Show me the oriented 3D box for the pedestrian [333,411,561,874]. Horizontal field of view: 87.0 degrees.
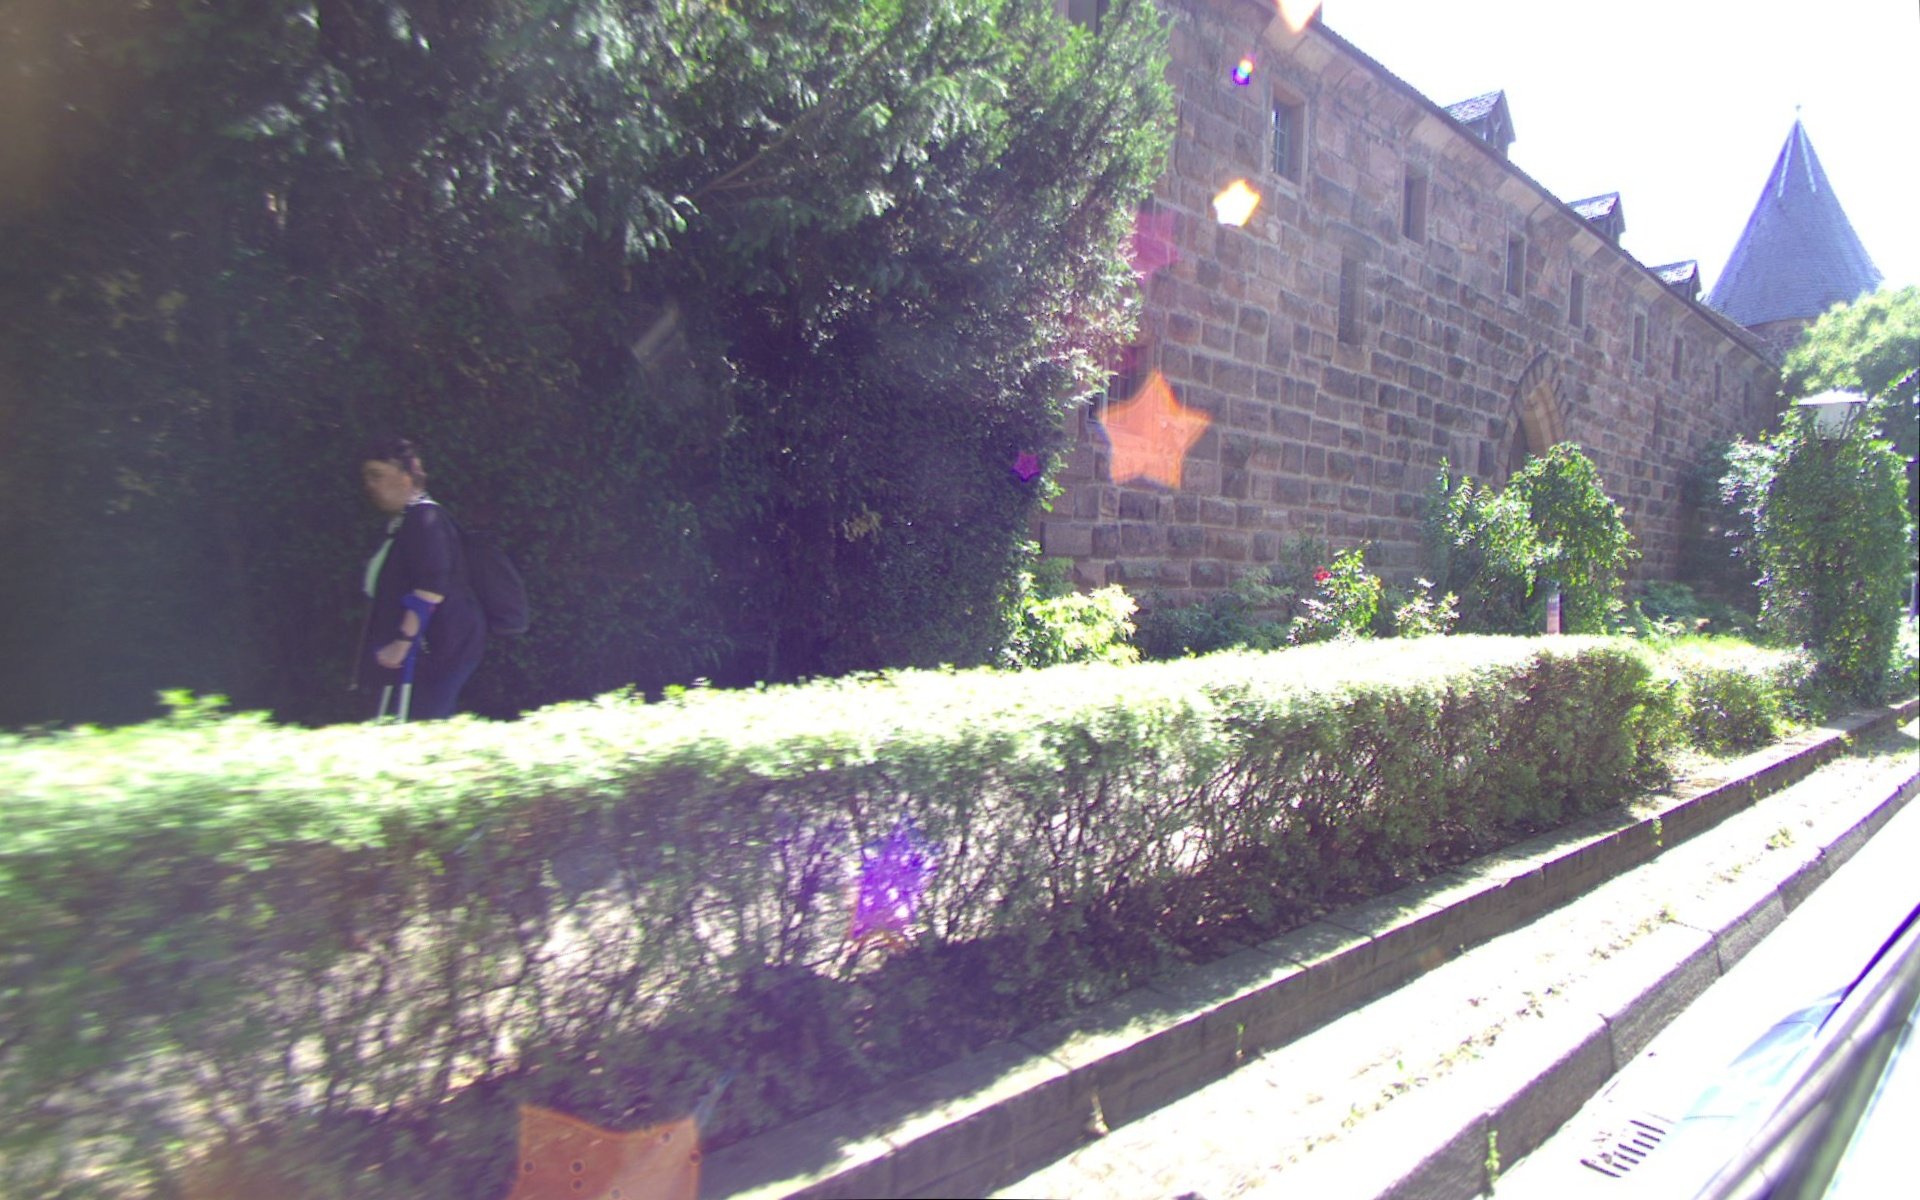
[{"bbox_3d":[-2.108,0.137,4.137,0.692,1.672,0.700,1,3,-38],"label":"pedestrian"}]
